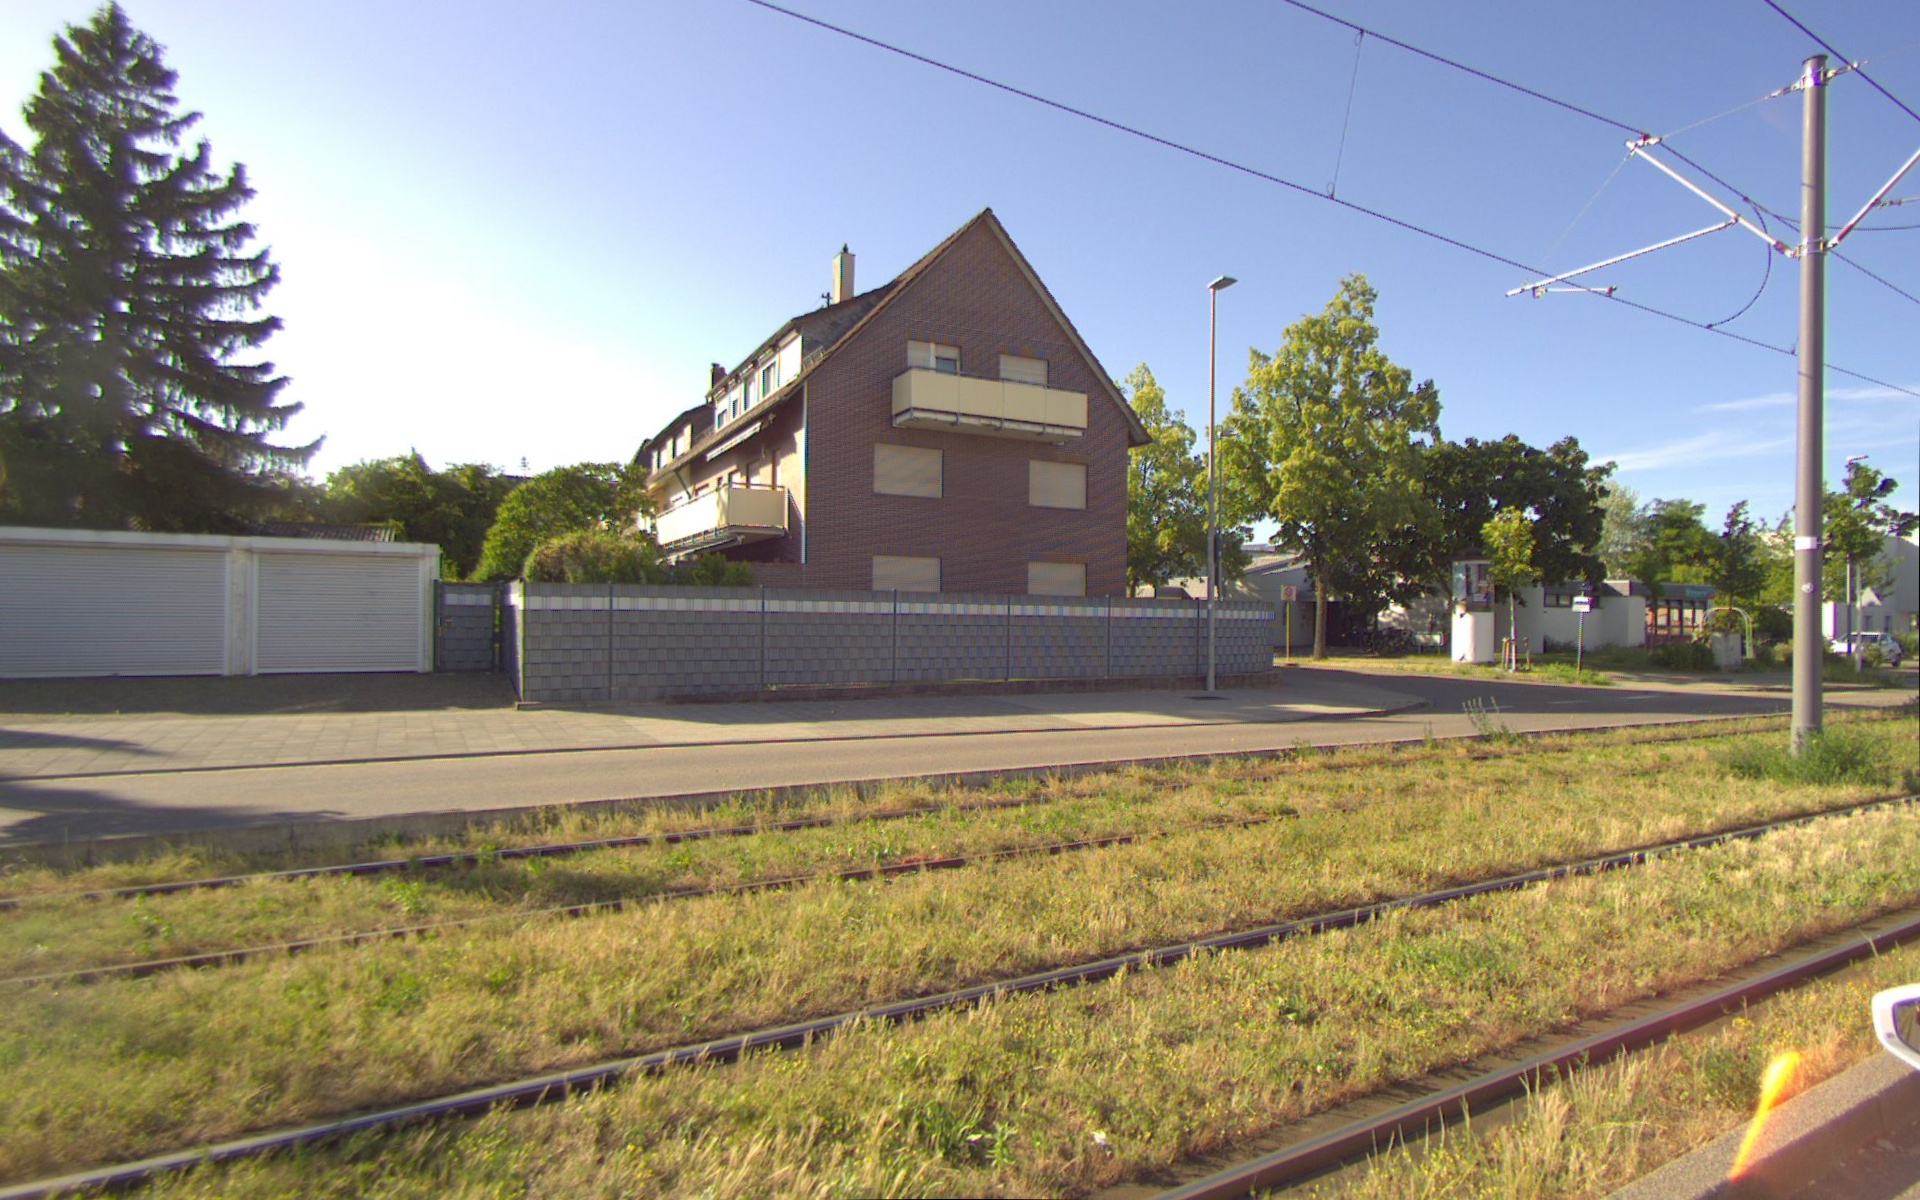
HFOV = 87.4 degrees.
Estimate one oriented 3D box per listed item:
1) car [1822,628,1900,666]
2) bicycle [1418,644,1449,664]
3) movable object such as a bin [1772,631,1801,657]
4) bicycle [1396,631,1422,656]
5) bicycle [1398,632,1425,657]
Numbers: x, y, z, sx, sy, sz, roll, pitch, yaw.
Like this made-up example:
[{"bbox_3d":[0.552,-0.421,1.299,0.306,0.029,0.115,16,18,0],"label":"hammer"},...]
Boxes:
[{"bbox_3d":[39.495,2.046,44.004,3.733,1.511,1.536,2,0,-32],"label":"car"},{"bbox_3d":[21.270,2.411,45.158,0.331,0.836,1.231,2,-1,-39],"label":"bicycle"},{"bbox_3d":[47.191,2.521,57.332,1.401,1.401,0.663,2,0,-23],"label":"movable object such as a bin"},{"bbox_3d":[19.822,1.926,44.358,1.042,1.097,0.303,0,-1,43],"label":"bicycle"},{"bbox_3d":[20.053,1.959,44.623,1.025,1.073,0.303,0,-1,44],"label":"bicycle"}]
